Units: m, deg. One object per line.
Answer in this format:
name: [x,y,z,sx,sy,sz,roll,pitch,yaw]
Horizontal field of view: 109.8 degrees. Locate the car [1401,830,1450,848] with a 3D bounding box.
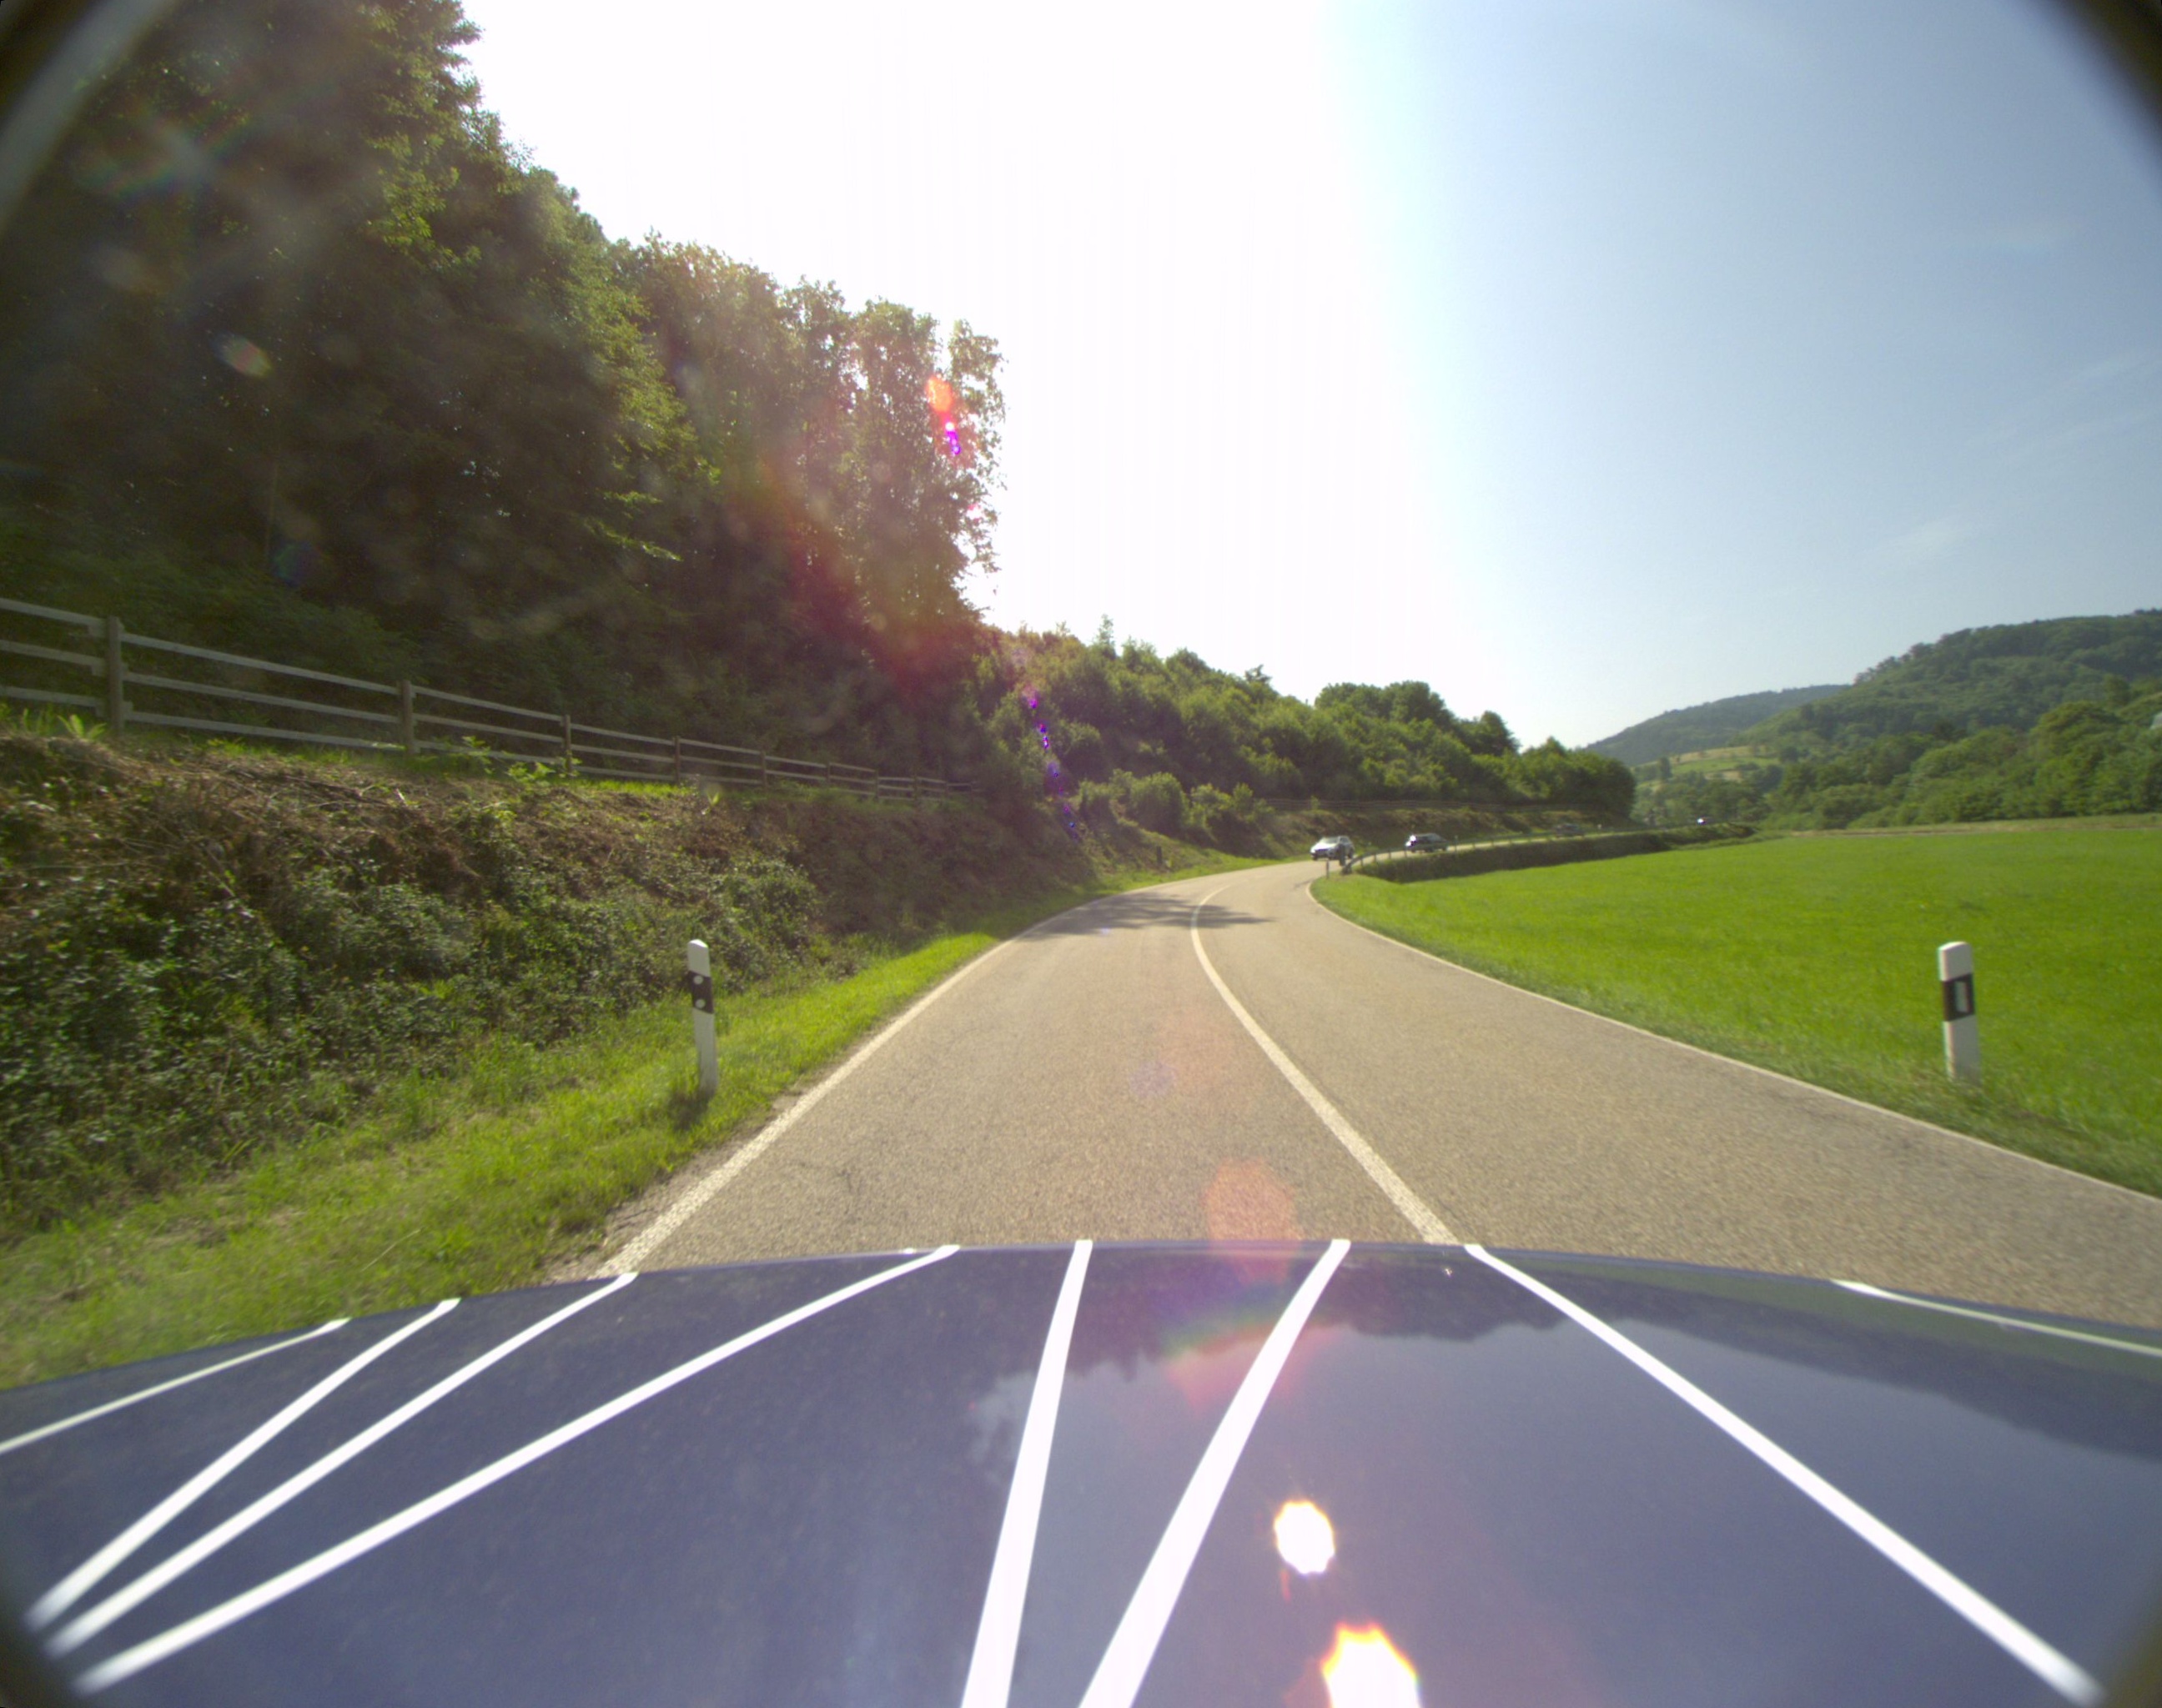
car: [32.610,-1.418,71.852,4.680,1.482,2.142,-2,0,-37]

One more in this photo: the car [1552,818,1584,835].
car: [54.269,-3.035,84.667,4.906,1.730,1.950,-2,0,-45]

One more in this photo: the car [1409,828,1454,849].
car: [30.293,-1.319,65.552,4.603,1.578,1.876,-4,1,-43]

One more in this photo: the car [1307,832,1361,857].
car: [19.687,-0.765,58.967,2.114,1.803,4.464,-4,-1,45]

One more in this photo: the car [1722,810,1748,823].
car: [96.398,-5.544,111.973,4.006,1.665,1.710,-3,-1,-31]
